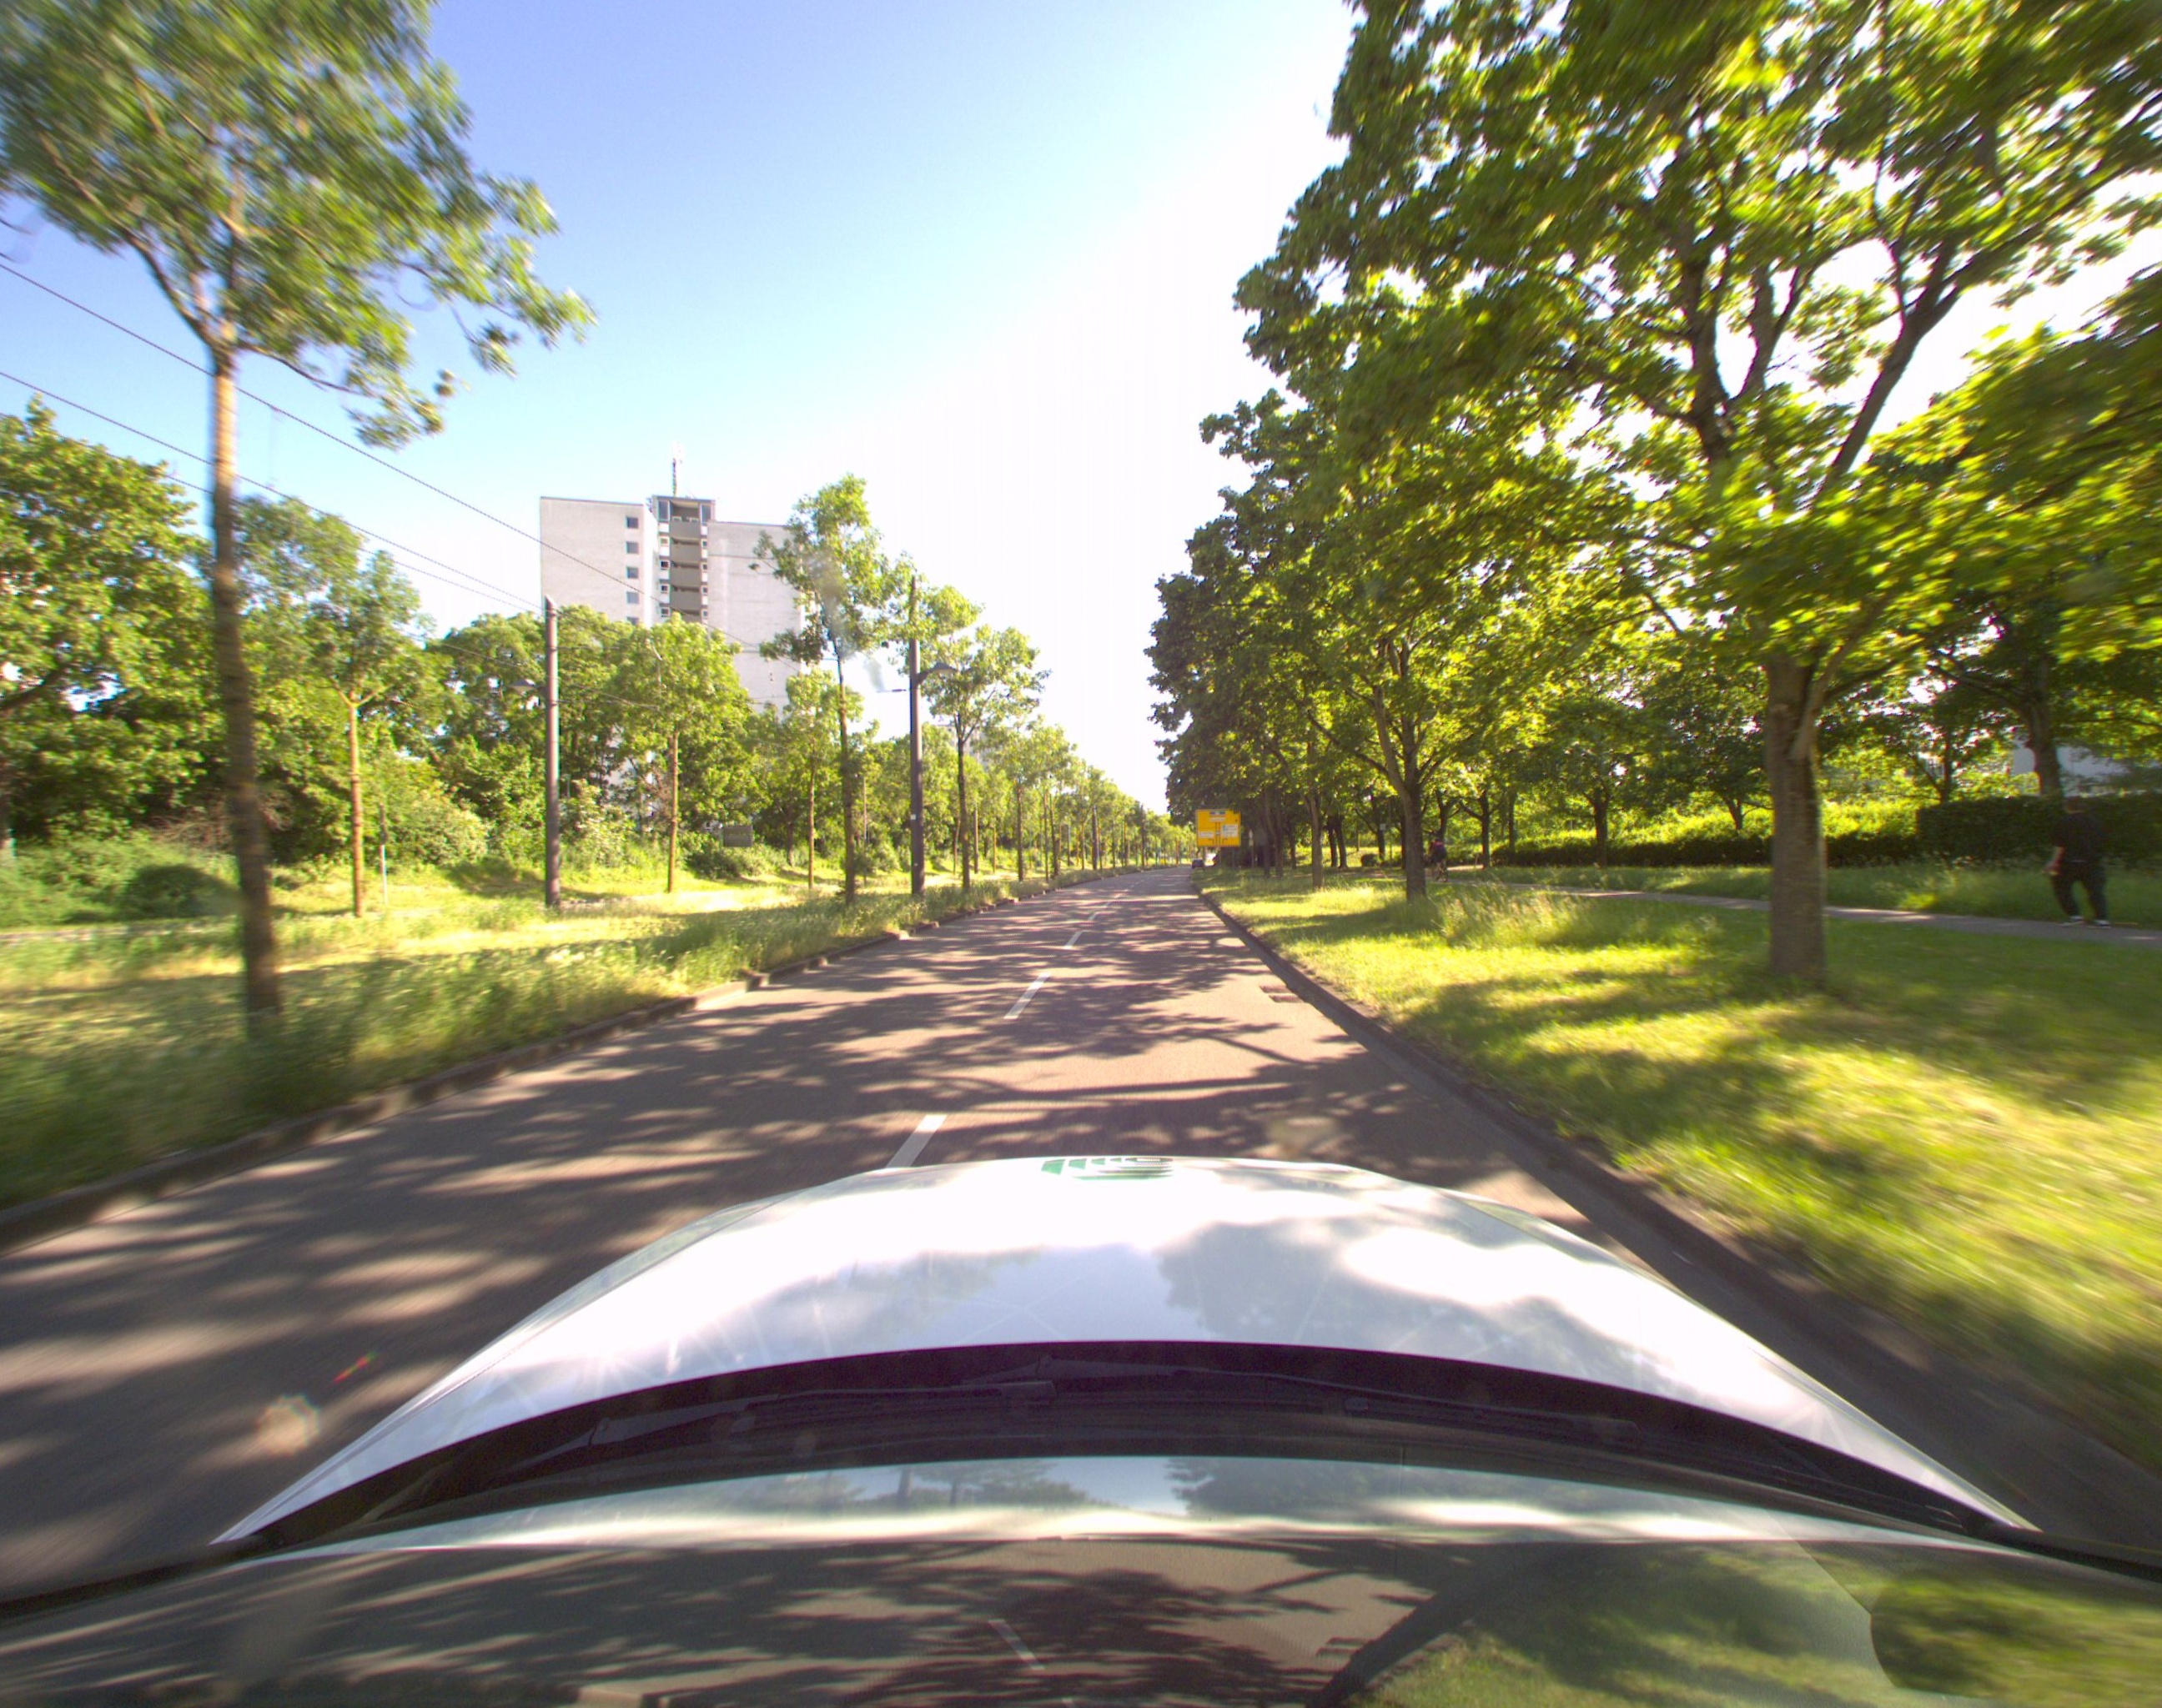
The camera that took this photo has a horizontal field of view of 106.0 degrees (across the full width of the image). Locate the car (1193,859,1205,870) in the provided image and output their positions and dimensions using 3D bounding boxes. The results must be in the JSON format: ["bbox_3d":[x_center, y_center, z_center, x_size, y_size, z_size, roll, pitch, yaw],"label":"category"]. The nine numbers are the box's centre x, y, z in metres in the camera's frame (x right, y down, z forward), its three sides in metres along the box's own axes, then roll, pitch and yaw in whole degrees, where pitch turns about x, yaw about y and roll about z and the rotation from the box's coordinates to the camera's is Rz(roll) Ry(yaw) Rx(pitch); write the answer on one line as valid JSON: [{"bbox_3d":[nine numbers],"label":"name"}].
[{"bbox_3d":[17.485,1.508,120.313,1.624,1.498,4.246,-1,0,10],"label":"car"}]

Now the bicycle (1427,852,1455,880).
[{"bbox_3d":[14.128,0.472,32.012,0.788,1.047,2.153,-2,-1,19],"label":"bicycle"}]

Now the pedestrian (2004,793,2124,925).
[{"bbox_3d":[13.945,0.074,11.577,0.712,1.803,0.795,-1,0,4],"label":"pedestrian"}]

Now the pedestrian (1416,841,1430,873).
[{"bbox_3d":[17.571,0.174,41.838,0.542,1.622,0.847,-2,-1,17],"label":"pedestrian"}]

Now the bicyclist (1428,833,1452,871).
[{"bbox_3d":[14.111,-0.065,32.029,0.783,1.450,0.849,-2,-1,19],"label":"bicyclist"}]

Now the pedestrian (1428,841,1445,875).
[{"bbox_3d":[18.164,0.187,41.629,0.631,1.692,0.847,-2,-1,17],"label":"pedestrian"}]
